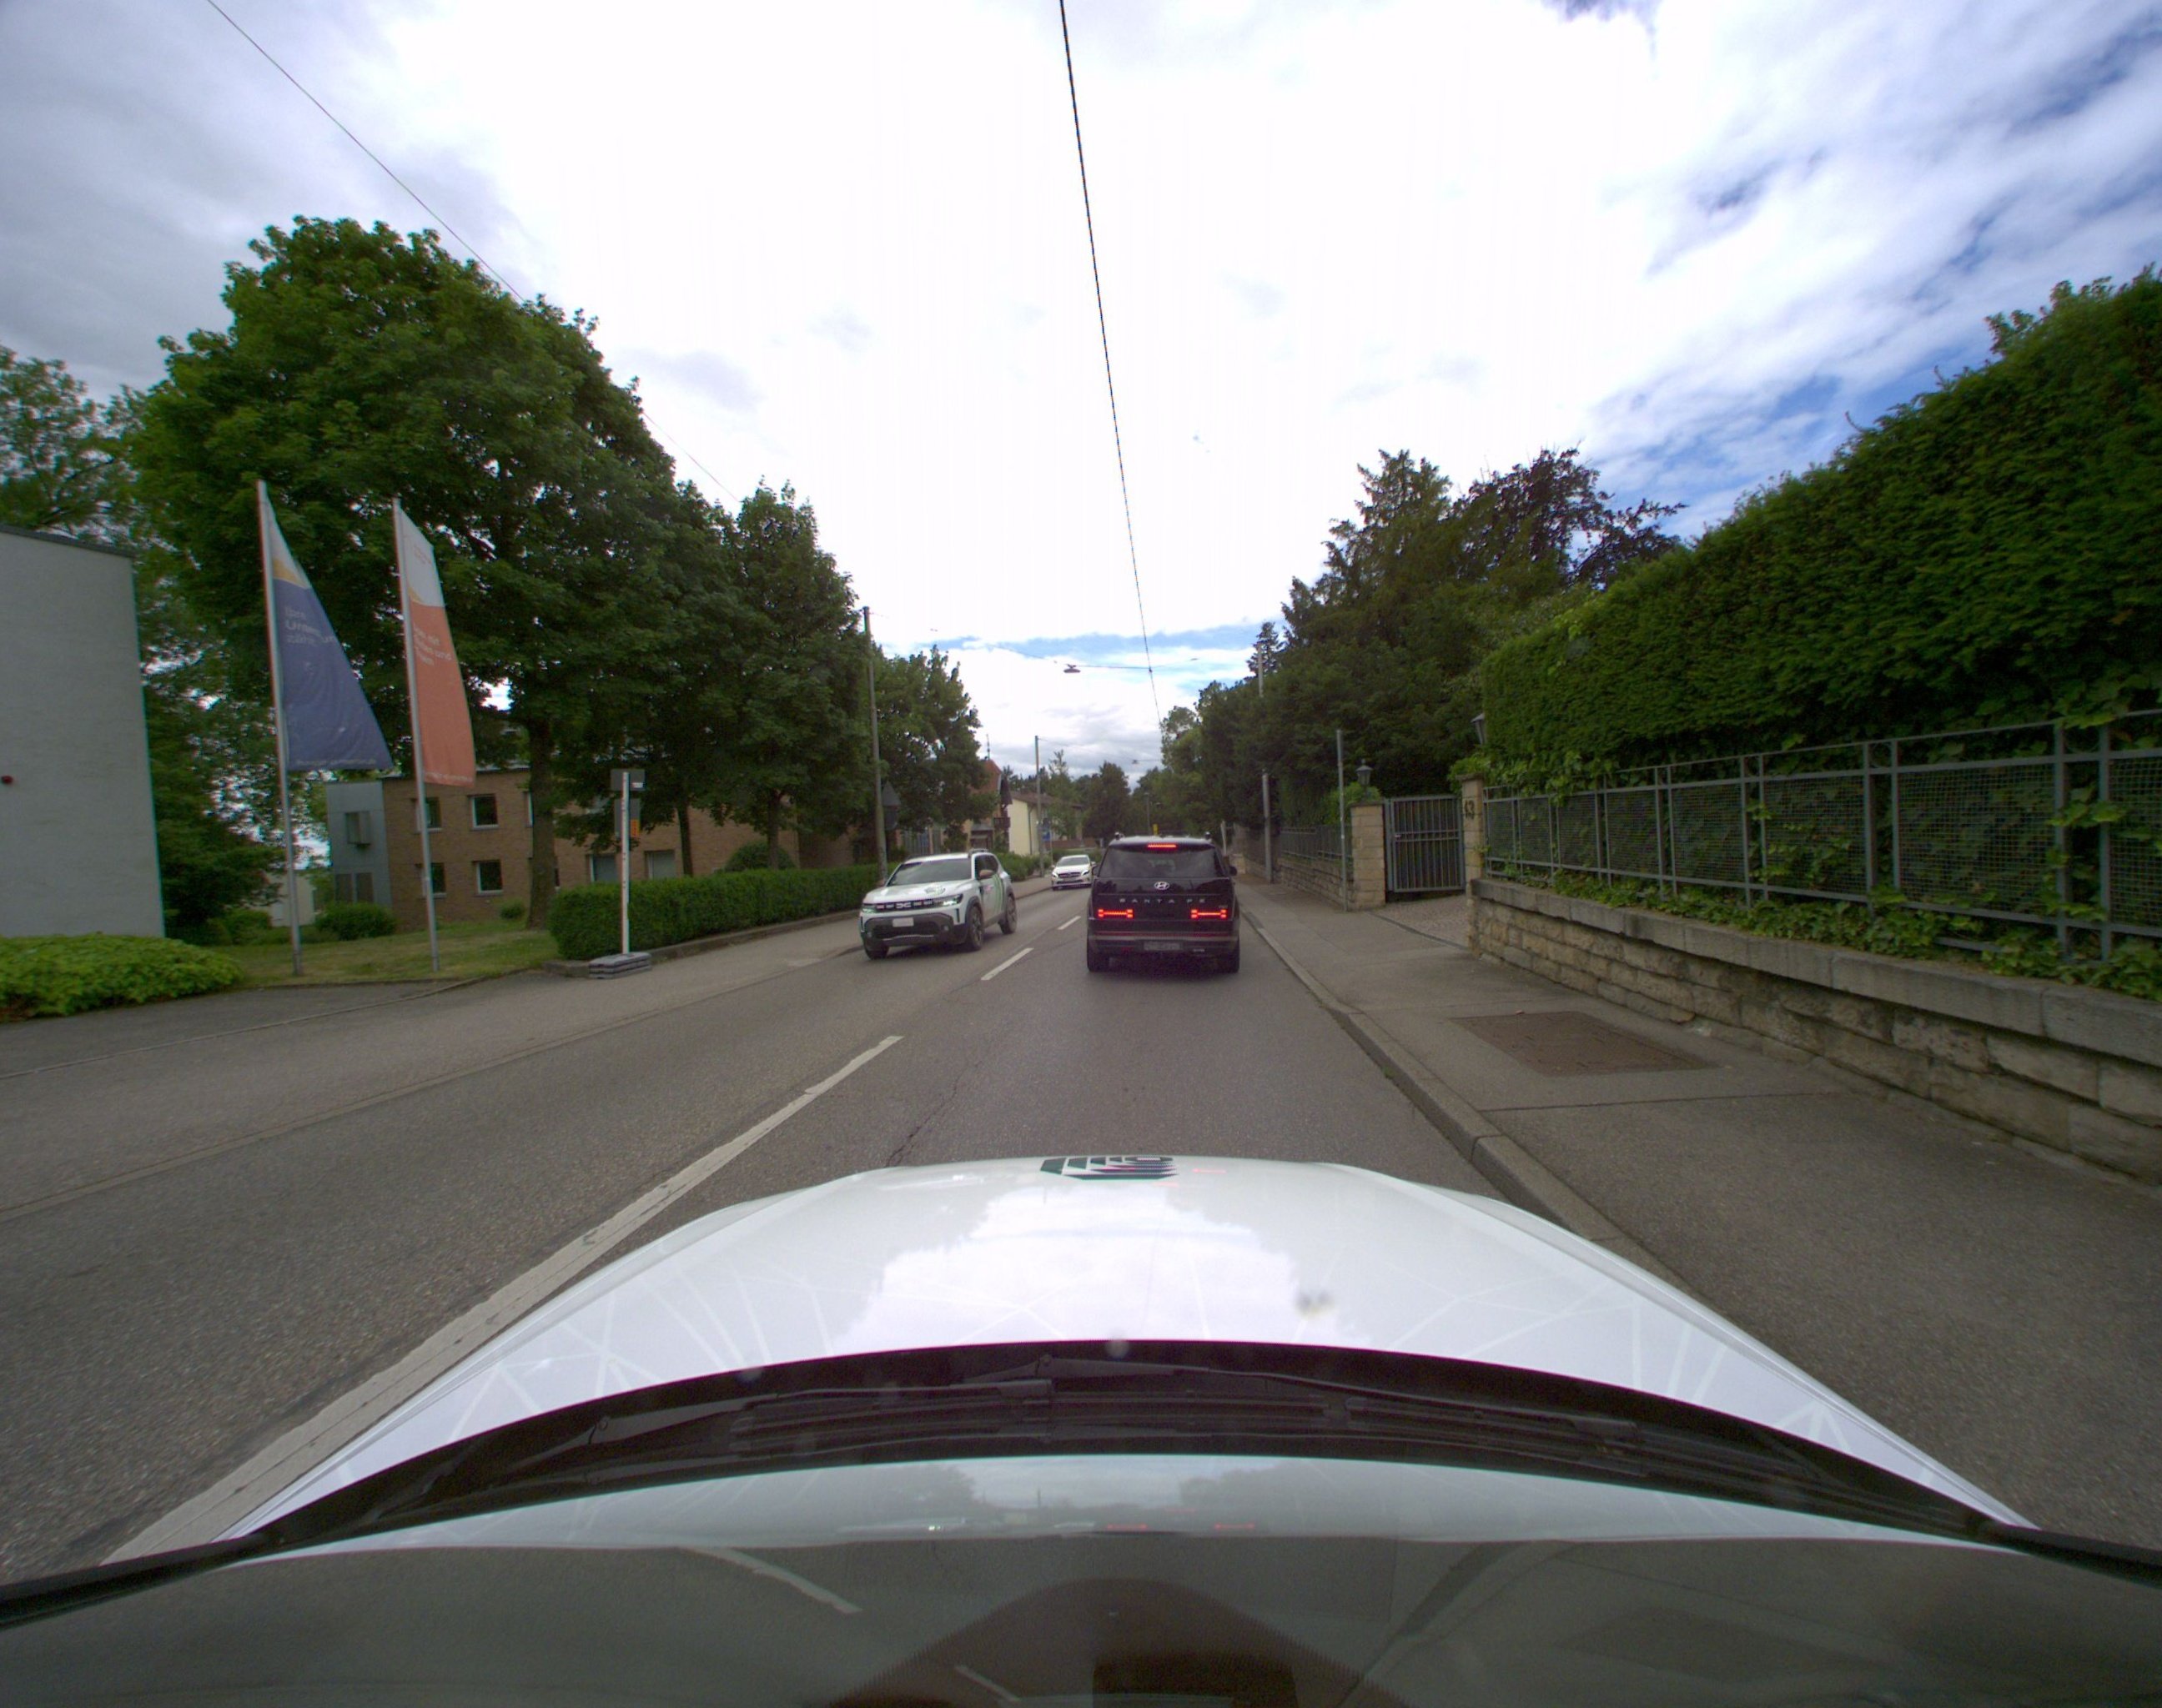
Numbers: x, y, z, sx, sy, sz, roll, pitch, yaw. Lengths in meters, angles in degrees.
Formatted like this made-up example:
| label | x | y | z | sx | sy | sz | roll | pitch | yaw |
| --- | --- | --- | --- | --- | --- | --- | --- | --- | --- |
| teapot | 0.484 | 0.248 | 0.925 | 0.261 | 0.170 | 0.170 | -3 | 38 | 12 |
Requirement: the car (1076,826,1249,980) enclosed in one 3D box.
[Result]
| label | x | y | z | sx | sy | sz | roll | pitch | yaw |
| --- | --- | --- | --- | --- | --- | --- | --- | --- | --- |
| car | 1.176 | 0.520 | 11.306 | 1.946 | 1.713 | 4.232 | 0 | 1 | 7 |

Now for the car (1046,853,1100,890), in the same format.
| label | x | y | z | sx | sy | sz | roll | pitch | yaw |
| --- | --- | --- | --- | --- | --- | --- | --- | --- | --- |
| car | -0.295 | 0.733 | 35.961 | 1.757 | 1.421 | 4.073 | -5 | 0 | 6 |

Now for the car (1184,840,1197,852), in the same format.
| label | x | y | z | sx | sy | sz | roll | pitch | yaw |
| --- | --- | --- | --- | --- | --- | --- | --- | --- | --- |
| car | 15.910 | -1.111 | 118.639 | 1.634 | 1.561 | 3.660 | -3 | -2 | 10 |

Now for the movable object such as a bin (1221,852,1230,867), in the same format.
| label | x | y | z | sx | sy | sz | roll | pitch | yaw |
| --- | --- | --- | --- | --- | --- | --- | --- | --- | --- |
| movable object such as a bin | 9.383 | 0.370 | 52.923 | 0.441 | 0.910 | 0.396 | -5 | 0 | 16 |

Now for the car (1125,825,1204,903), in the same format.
| label | x | y | z | sx | sy | sz | roll | pitch | yaw |
| --- | --- | --- | --- | --- | --- | --- | --- | --- | --- |
| car | 2.288 | 0.312 | 22.773 | 1.948 | 1.956 | 4.228 | 1 | -2 | 5 |

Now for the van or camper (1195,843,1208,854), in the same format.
| label | x | y | z | sx | sy | sz | roll | pitch | yaw |
| --- | --- | --- | --- | --- | --- | --- | --- | --- | --- |
| van or camper | 19.870 | -0.976 | 134.585 | 1.982 | 1.651 | 4.009 | -4 | 0 | 8 |

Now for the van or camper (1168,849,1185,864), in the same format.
| label | x | y | z | sx | sy | sz | roll | pitch | yaw |
| --- | --- | --- | --- | --- | --- | --- | --- | --- | --- |
| van or camper | 11.896 | 0.312 | 101.261 | 1.982 | 1.651 | 4.009 | -4 | 0 | 8 |

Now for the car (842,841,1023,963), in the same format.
| label | x | y | z | sx | sy | sz | roll | pitch | yaw |
| --- | --- | --- | --- | --- | --- | --- | --- | --- | --- |
| car | -2.349 | 0.702 | 14.165 | 1.760 | 1.637 | 4.310 | -6 | 0 | 7 |
